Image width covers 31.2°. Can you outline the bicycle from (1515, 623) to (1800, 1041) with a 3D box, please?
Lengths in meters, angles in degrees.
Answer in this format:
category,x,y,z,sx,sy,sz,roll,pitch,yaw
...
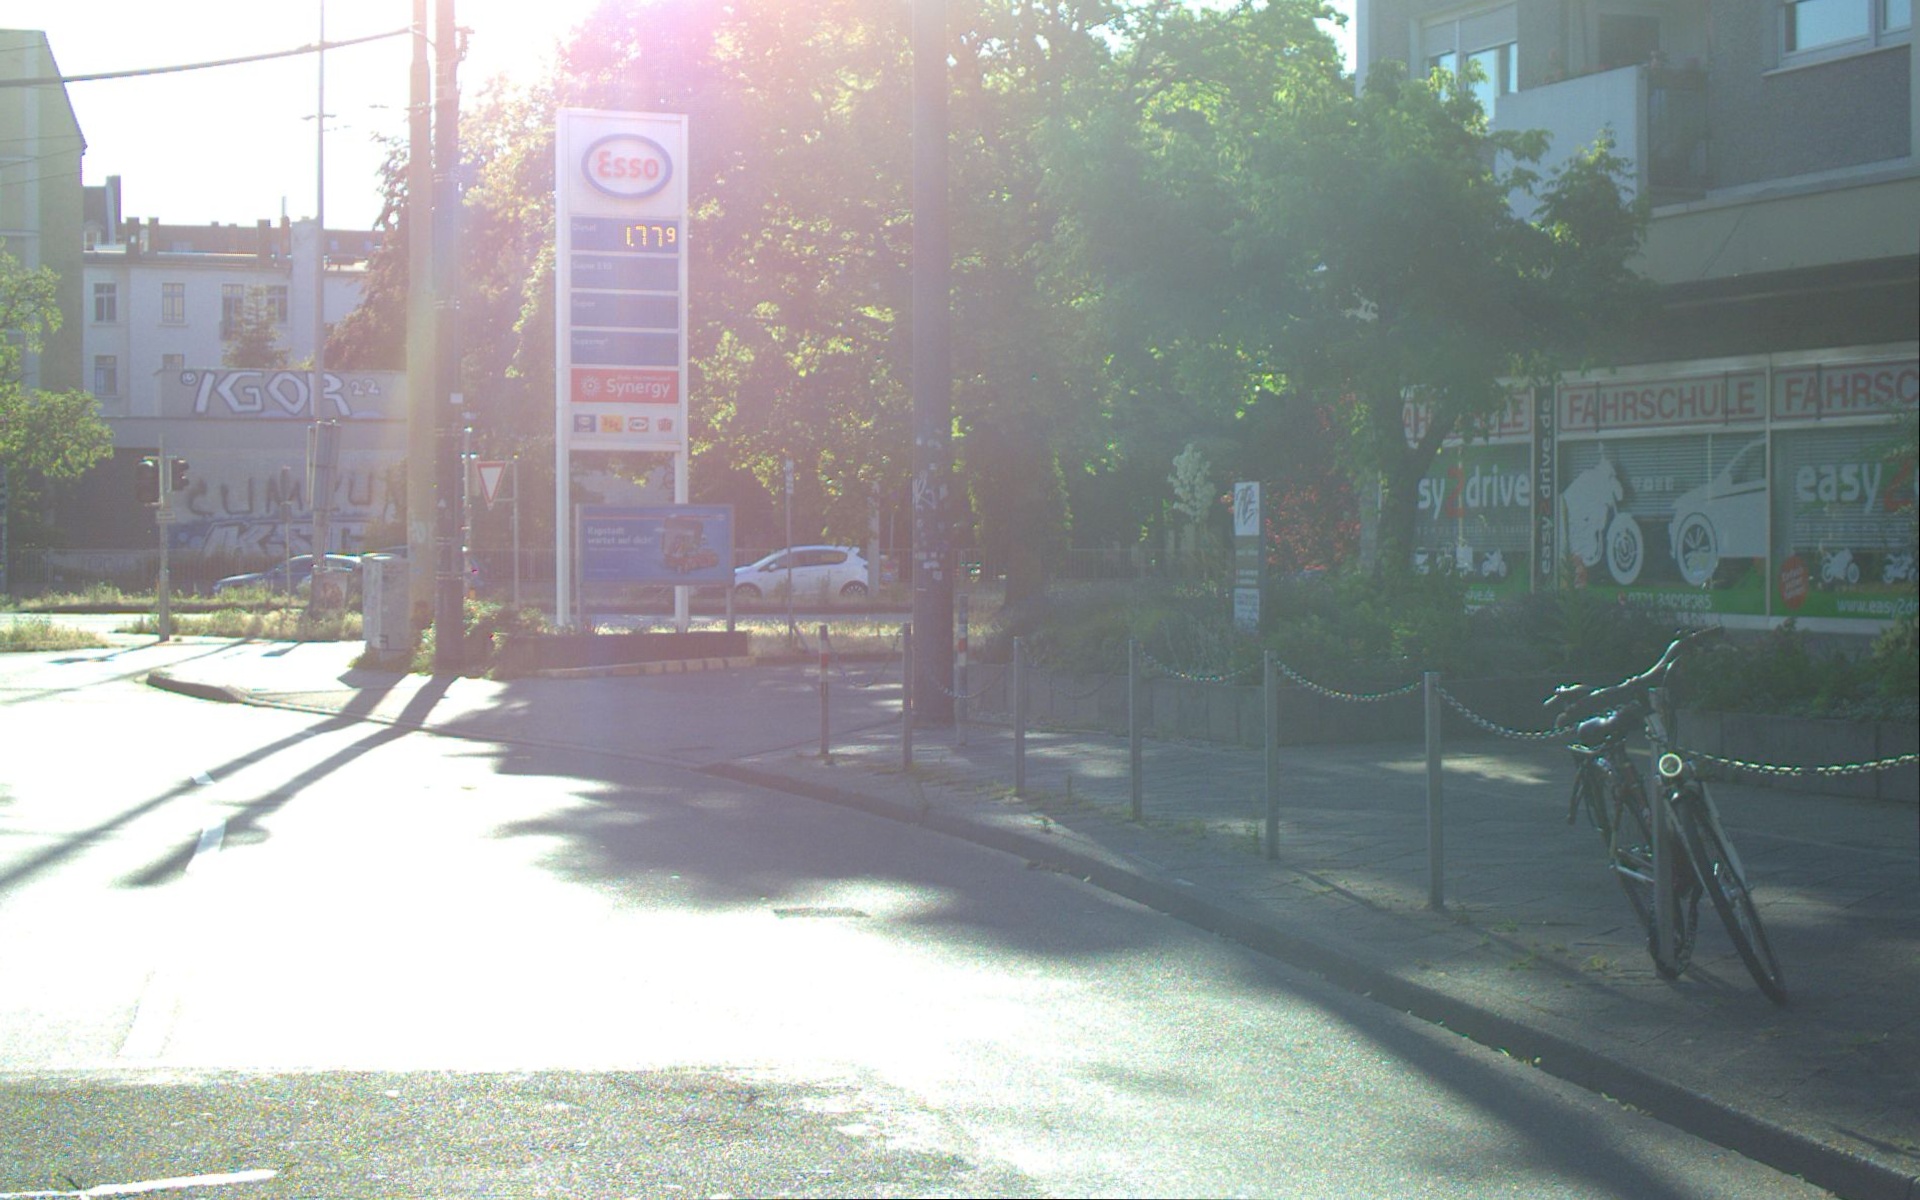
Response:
category,x,y,z,sx,sy,sz,roll,pitch,yaw
bicycle,2.278,0.707,11.443,0.638,1.222,2.088,0,1,3

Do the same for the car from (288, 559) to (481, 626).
category,x,y,z,sx,sy,sz,roll,pitch,yaw
car,-12.633,-0.171,75.615,3.986,1.448,1.810,0,1,-2

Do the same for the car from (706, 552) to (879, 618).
category,x,y,z,sx,sy,sz,roll,pitch,yaw
car,-3.916,-0.349,80.177,3.986,1.502,1.673,0,1,-3

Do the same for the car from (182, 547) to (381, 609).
category,x,y,z,sx,sy,sz,roll,pitch,yaw
car,-16.472,-0.547,83.569,4.476,1.482,1.780,0,1,2

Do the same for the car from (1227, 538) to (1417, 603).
category,x,y,z,sx,sy,sz,roll,pitch,yaw
car,8.124,-0.670,77.241,3.986,1.448,1.687,0,1,-5
